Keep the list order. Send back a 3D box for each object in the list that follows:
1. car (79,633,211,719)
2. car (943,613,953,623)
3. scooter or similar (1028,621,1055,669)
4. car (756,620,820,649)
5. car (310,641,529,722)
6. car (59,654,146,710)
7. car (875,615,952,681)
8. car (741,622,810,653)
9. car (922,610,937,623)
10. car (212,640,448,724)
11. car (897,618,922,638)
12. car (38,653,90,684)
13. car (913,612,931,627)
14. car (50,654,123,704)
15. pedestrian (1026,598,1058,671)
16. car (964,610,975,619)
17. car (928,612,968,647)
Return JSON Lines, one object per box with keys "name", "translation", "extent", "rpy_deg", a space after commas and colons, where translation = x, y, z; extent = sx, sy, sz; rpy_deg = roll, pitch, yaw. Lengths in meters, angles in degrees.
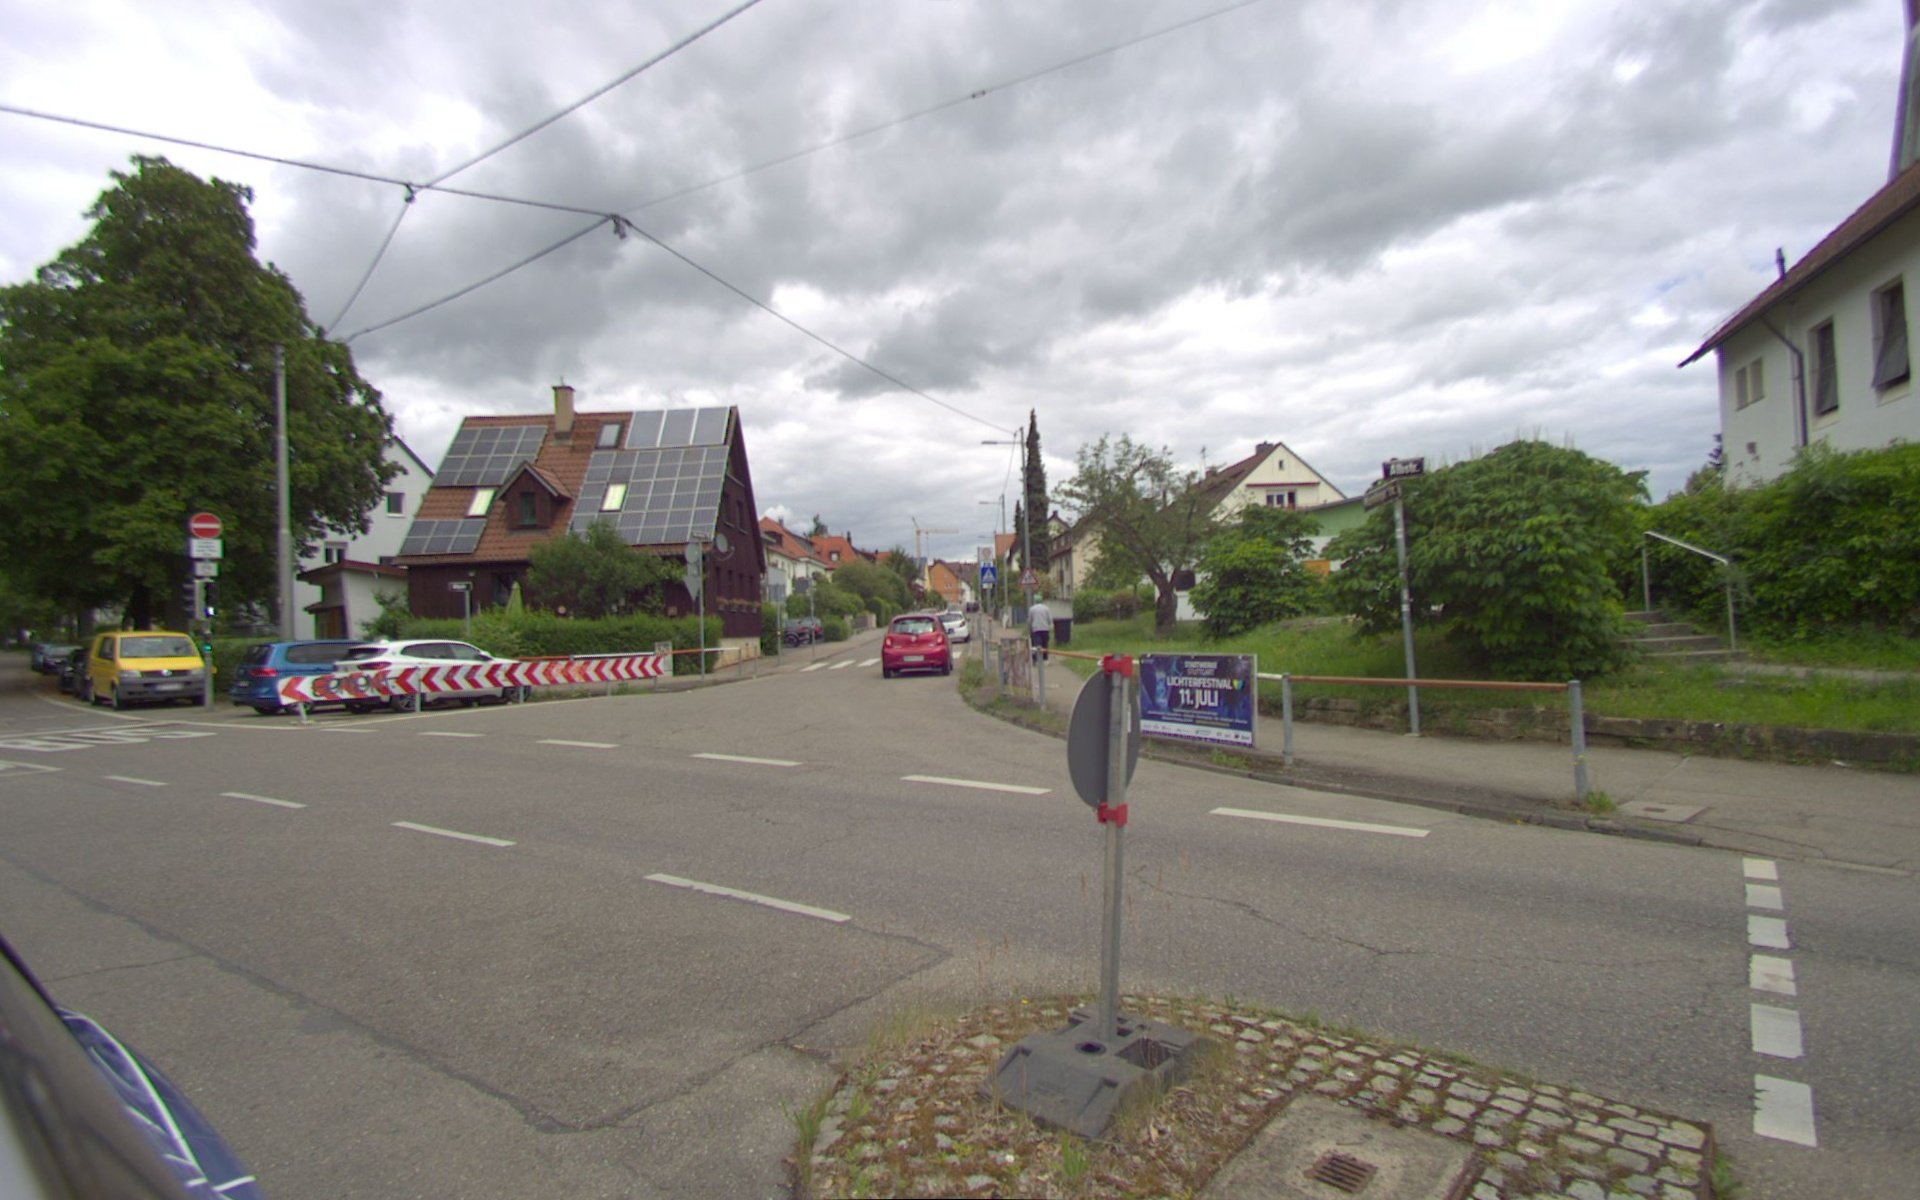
{"name": "car", "translation": [-21.532, 1.942, 26.673], "extent": [4.797, 2.004, 1.896], "rpy_deg": [-3, -2, 41]}
{"name": "car", "translation": [-2.076, 3.138, 176.044], "extent": [1.750, 1.501, 3.684], "rpy_deg": [-3, -2, -1]}
{"name": "scooter or similar", "translation": [2.014, 1.106, 24.950], "extent": [0.604, 1.103, 0.888], "rpy_deg": [-2, 1, 4]}
{"name": "car", "translation": [-9.986, 2.017, 58.918], "extent": [3.394, 1.501, 1.590], "rpy_deg": [-3, -2, 1]}
{"name": "car", "translation": [-11.690, 1.726, 22.133], "extent": [1.837, 1.483, 3.867], "rpy_deg": [-4, -2, 28]}
{"name": "car", "translation": [-26.247, 2.435, 30.929], "extent": [1.725, 1.461, 4.517], "rpy_deg": [0, -1, -44]}
{"name": "car", "translation": [-1.122, 1.192, 25.731], "extent": [1.750, 1.501, 3.684], "rpy_deg": [-3, -2, -1]}
{"name": "car", "translation": [-9.817, 2.002, 53.997], "extent": [3.394, 1.501, 1.590], "rpy_deg": [-3, -2, 1]}
{"name": "car", "translation": [-3.697, 2.015, 124.136], "extent": [1.750, 1.501, 3.684], "rpy_deg": [-3, -2, -1]}
{"name": "car", "translation": [-14.093, 1.787, 22.849], "extent": [1.842, 1.559, 4.128], "rpy_deg": [-4, -2, 36]}
{"name": "car", "translation": [-4.022, 2.280, 81.262], "extent": [1.750, 1.501, 3.684], "rpy_deg": [-3, -2, -1]}
{"name": "car", "translation": [-43.476, 3.291, 49.135], "extent": [1.825, 1.387, 4.599], "rpy_deg": [0, -2, -41]}
{"name": "car", "translation": [-4.077, 2.118, 108.226], "extent": [1.750, 1.501, 3.684], "rpy_deg": [-3, -2, -1]}
{"name": "car", "translation": [-29.611, 2.624, 34.259], "extent": [1.724, 1.461, 4.598], "rpy_deg": [0, -1, -43]}
{"name": "pedestrian", "translation": [1.952, 0.808, 24.075], "extent": [0.680, 1.665, 0.830], "rpy_deg": [-2, 1, 4]}
{"name": "car", "translation": [1.765, 2.632, 188.213], "extent": [1.750, 1.501, 3.684], "rpy_deg": [-3, -2, -1]}
{"name": "car", "translation": [-0.571, 1.382, 47.421], "extent": [1.750, 1.501, 3.684], "rpy_deg": [-3, -2, -1]}
